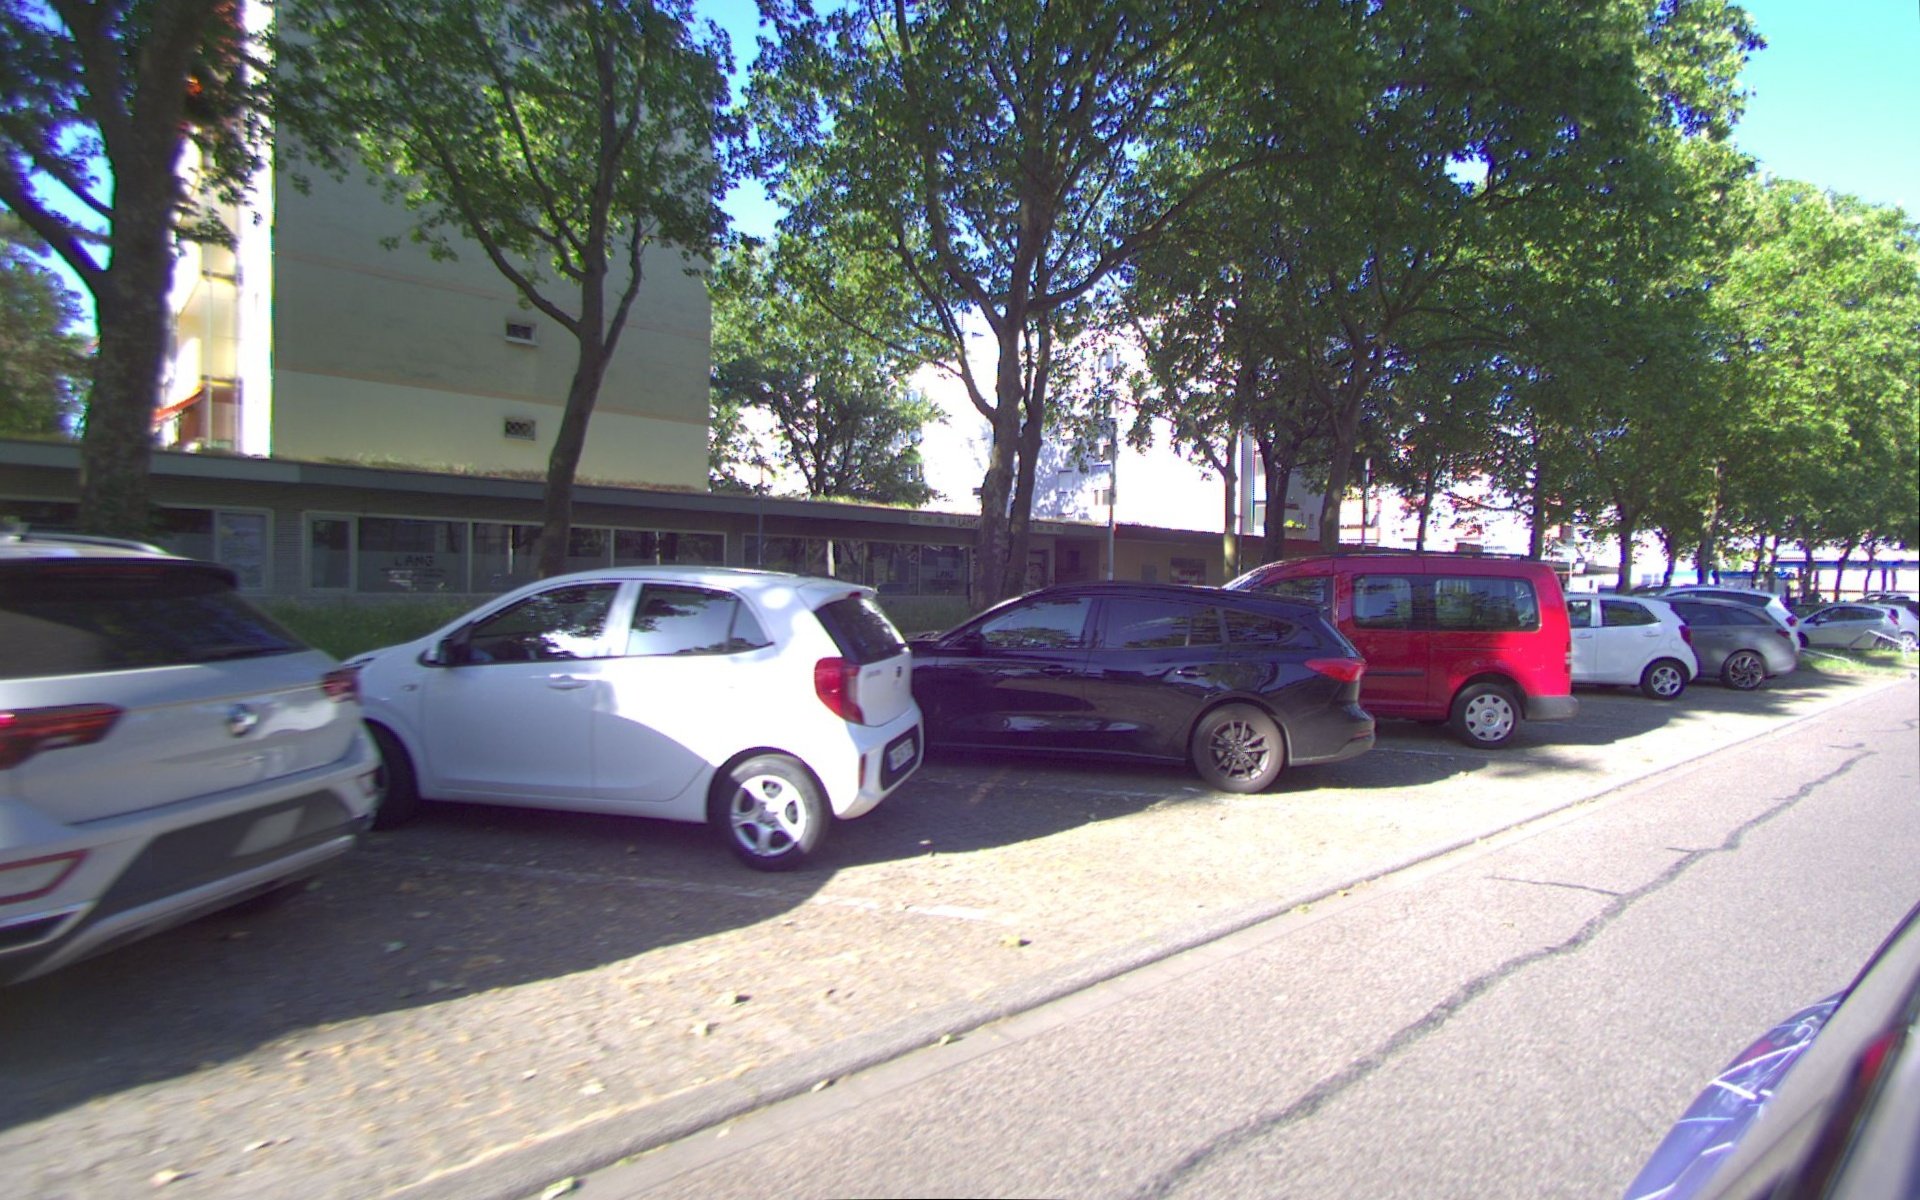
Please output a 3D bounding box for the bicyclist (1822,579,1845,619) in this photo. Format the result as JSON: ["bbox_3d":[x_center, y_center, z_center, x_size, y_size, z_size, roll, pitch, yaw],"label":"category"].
[{"bbox_3d":[39.506,-0.047,45.785,1.005,1.762,0.624,1,1,-40],"label":"bicyclist"}]

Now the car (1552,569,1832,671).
[{"bbox_3d":[14.113,0.331,19.749,3.962,1.726,1.757,2,2,9],"label":"car"}]

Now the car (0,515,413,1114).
[{"bbox_3d":[-4.354,0.478,3.725,4.027,1.601,1.773,2,2,16],"label":"car"}]

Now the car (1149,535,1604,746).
[{"bbox_3d":[4.054,0.325,10.503,4.019,1.833,1.647,2,2,10],"label":"car"}]

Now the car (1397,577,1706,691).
[{"bbox_3d":[8.747,0.454,15.216,3.562,1.466,1.650,2,2,4],"label":"car"}]

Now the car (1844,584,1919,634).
[{"bbox_3d":[35.224,0.368,36.678,4.428,1.726,1.757,2,2,9],"label":"car"}]

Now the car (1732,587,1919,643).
[{"bbox_3d":[24.799,0.402,29.046,3.870,1.390,1.586,2,2,6],"label":"car"}]

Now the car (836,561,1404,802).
[{"bbox_3d":[1.201,0.508,8.119,4.025,1.499,1.645,2,2,14],"label":"car"}]

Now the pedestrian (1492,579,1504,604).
[{"bbox_3d":[36.887,-0.565,69.429,0.495,1.721,0.704,2,0,44],"label":"pedestrian"}]

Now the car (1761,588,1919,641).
[{"bbox_3d":[27.789,0.437,31.484,4.113,1.429,1.718,2,2,7],"label":"car"}]

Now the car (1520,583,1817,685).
[{"bbox_3d":[11.932,0.524,17.265,3.722,1.488,1.649,2,2,7],"label":"car"}]

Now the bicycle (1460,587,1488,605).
[{"bbox_3d":[36.383,-0.282,71.615,1.812,1.194,0.600,0,0,-13],"label":"bicycle"}]

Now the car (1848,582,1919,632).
[{"bbox_3d":[38.771,0.321,40.405,4.595,1.875,1.826,2,2,10],"label":"car"}]

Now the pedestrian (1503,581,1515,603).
[{"bbox_3d":[37.676,-0.563,69.474,0.531,1.448,0.704,2,0,44],"label":"pedestrian"}]

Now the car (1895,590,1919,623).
[{"bbox_3d":[45.643,0.419,46.114,3.947,1.487,1.750,4,2,19],"label":"car"}]

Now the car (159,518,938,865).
[{"bbox_3d":[-2.263,0.400,6.118,4.016,1.601,1.778,2,2,8],"label":"car"}]
